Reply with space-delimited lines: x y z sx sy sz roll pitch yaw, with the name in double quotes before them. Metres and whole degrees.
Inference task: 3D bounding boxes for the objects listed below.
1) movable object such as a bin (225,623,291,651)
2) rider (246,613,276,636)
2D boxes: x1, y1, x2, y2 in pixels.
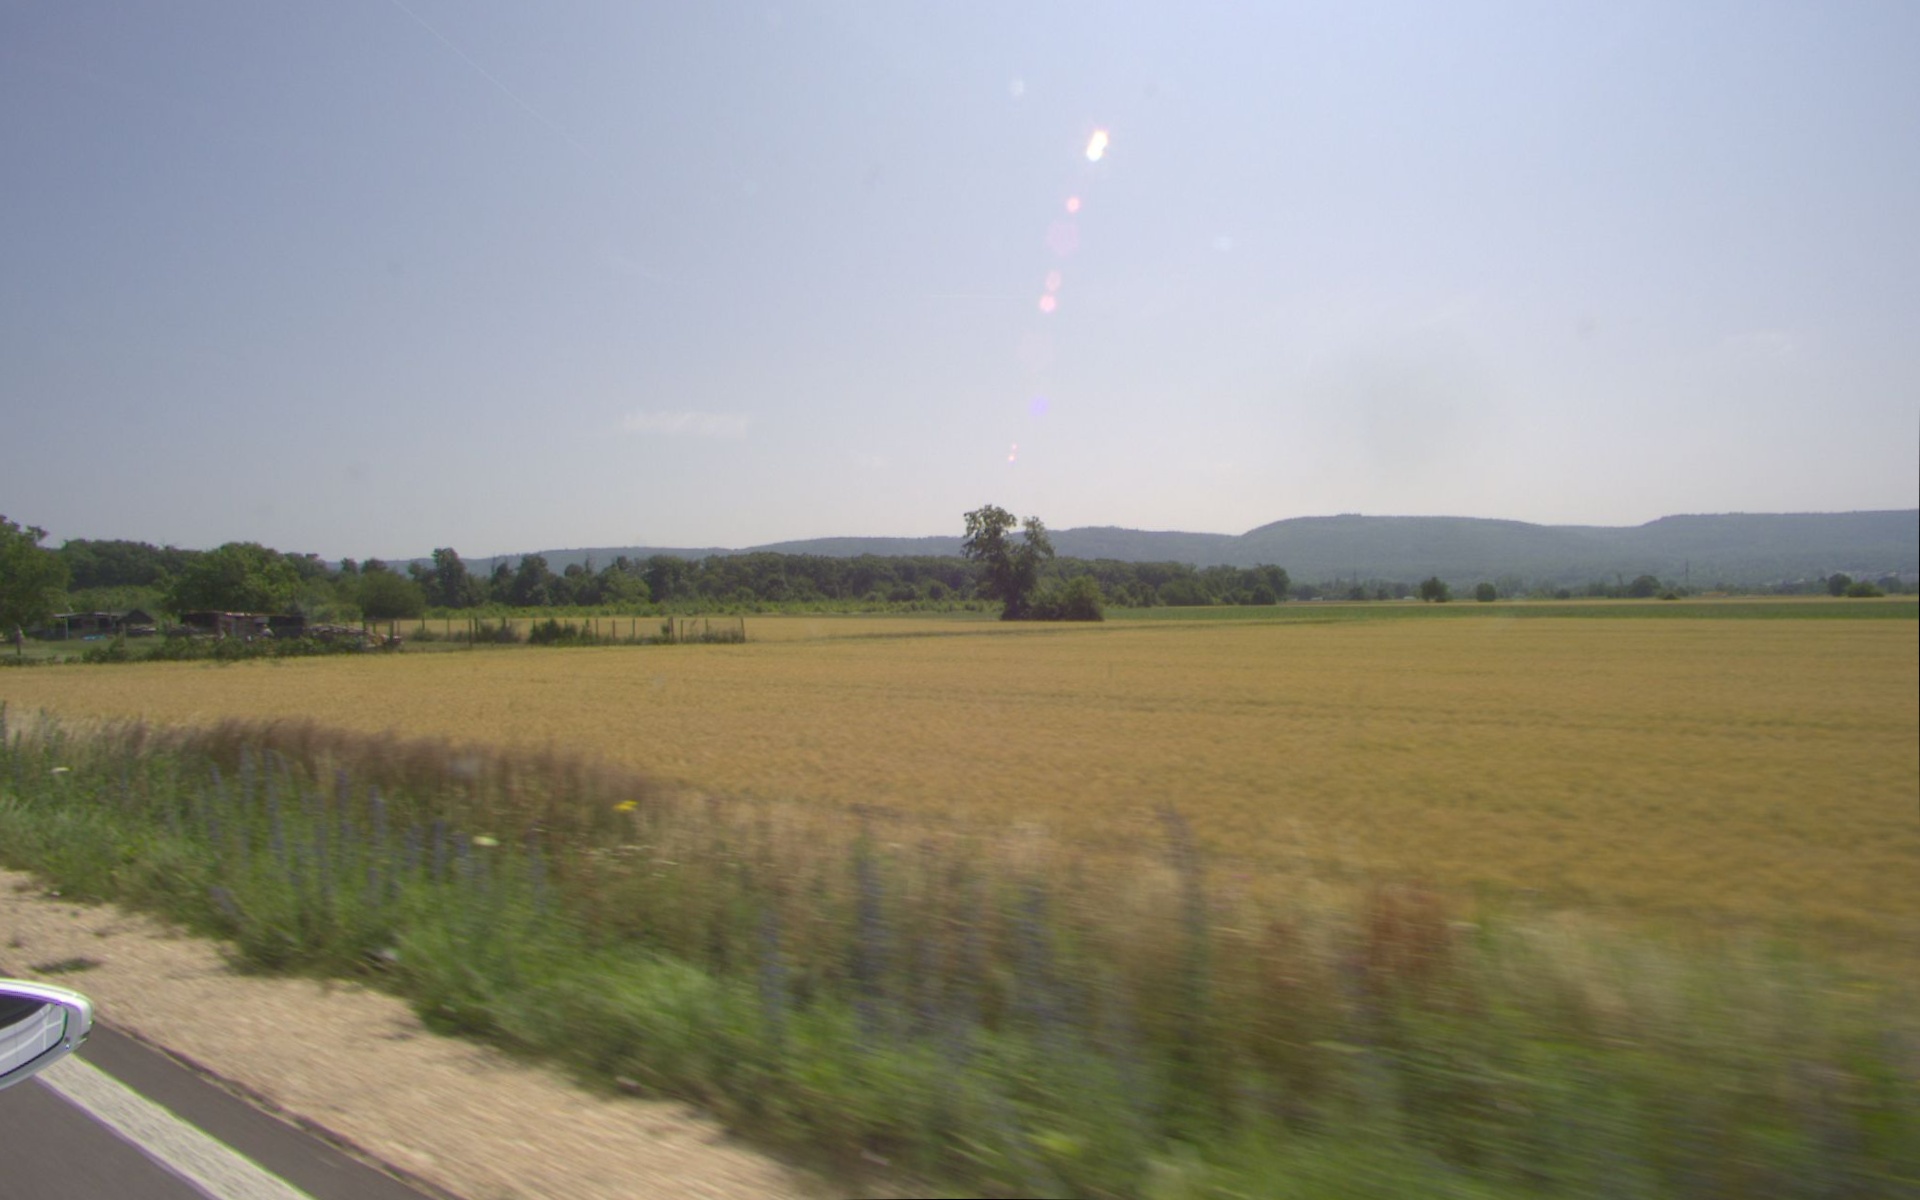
"movable object such as a bin" -39.536 2.073 56.372 3.602 1.516 1.569 -1 0 28
"rider" -39.061 1.361 55.966 0.970 1.233 1.024 -1 0 26
